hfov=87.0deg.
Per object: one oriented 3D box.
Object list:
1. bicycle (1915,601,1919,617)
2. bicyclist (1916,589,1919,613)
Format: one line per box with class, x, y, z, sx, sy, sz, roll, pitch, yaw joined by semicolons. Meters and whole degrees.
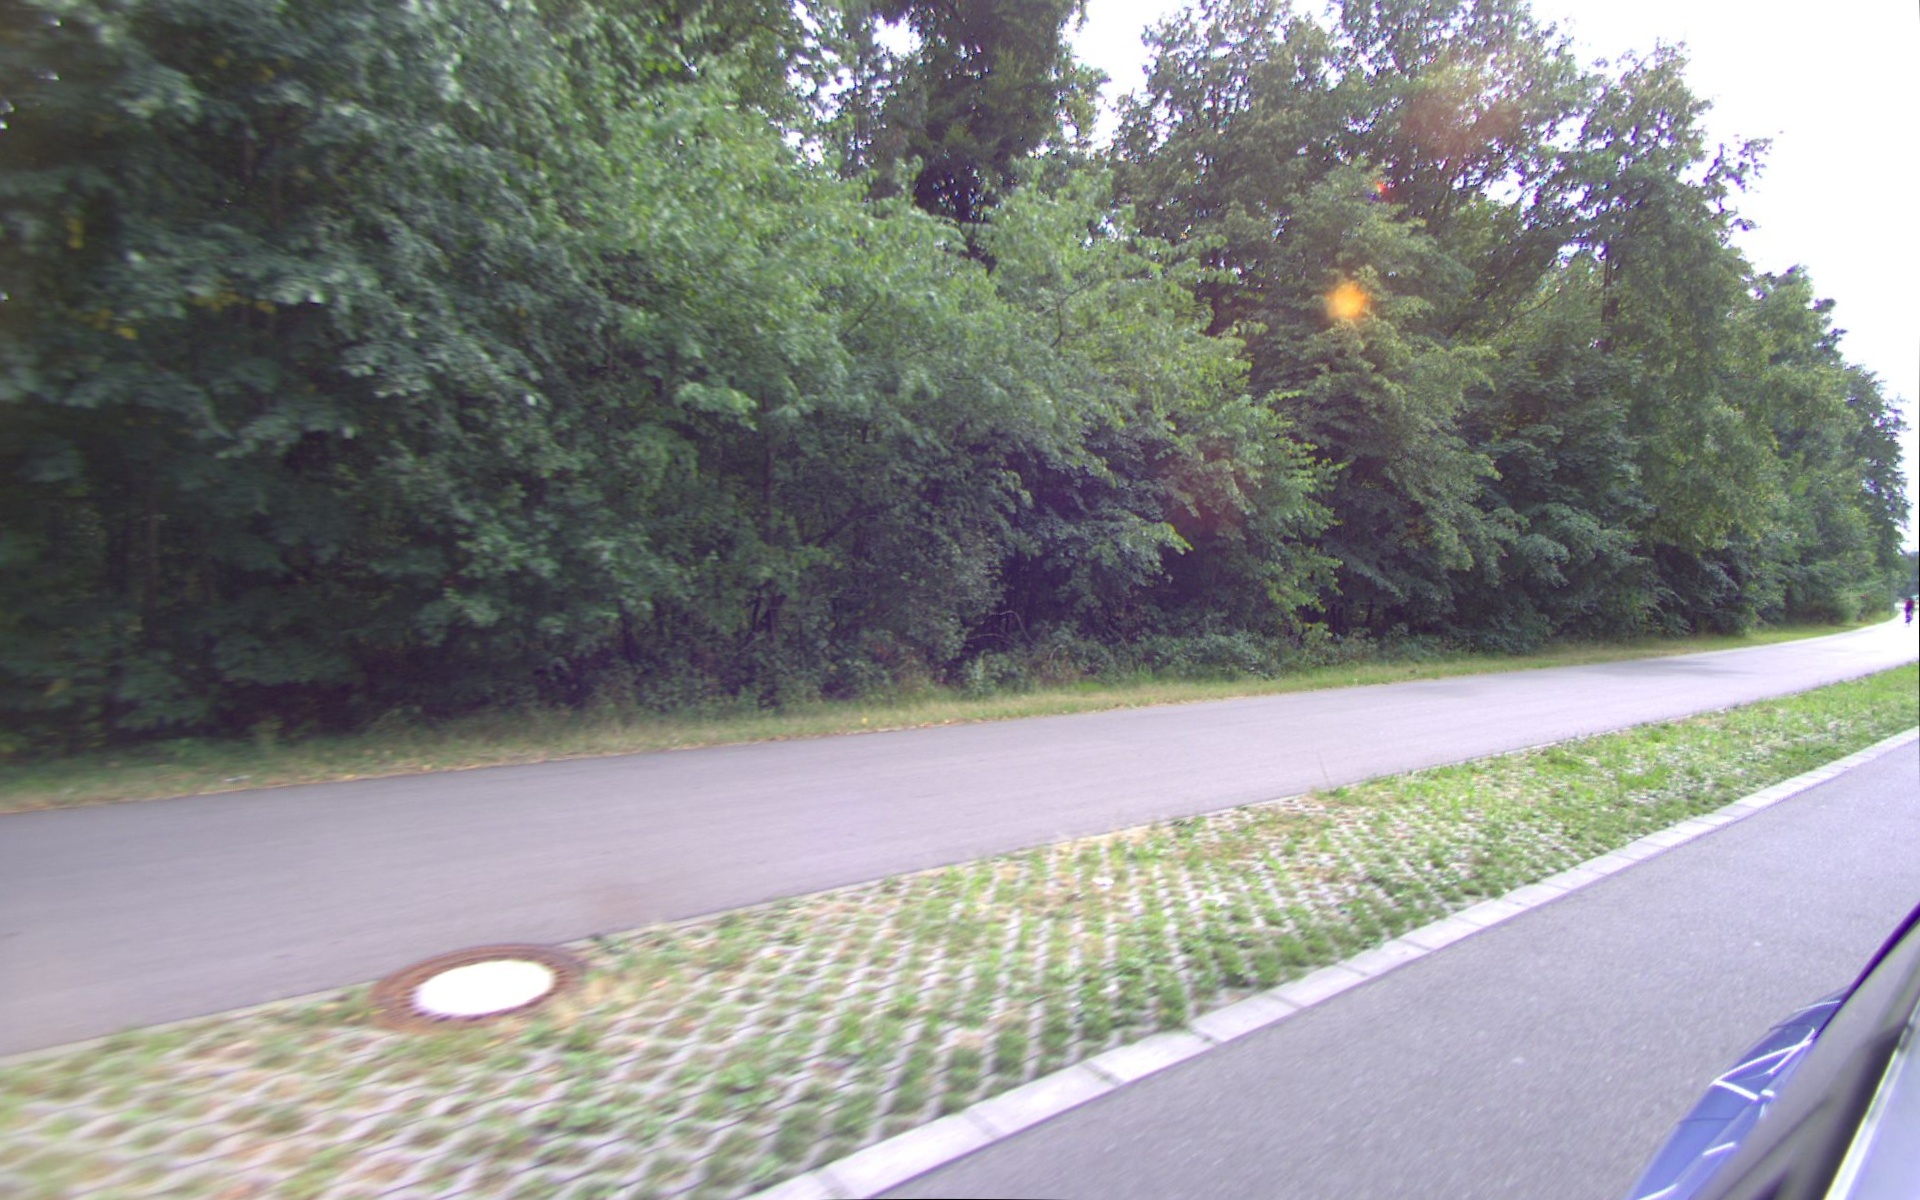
bicycle;56.535;0.523;59.421;0.566;0.923;1.858;5;3;42
bicyclist;56.558;0.045;59.442;0.519;1.433;1.168;-1;0;42
